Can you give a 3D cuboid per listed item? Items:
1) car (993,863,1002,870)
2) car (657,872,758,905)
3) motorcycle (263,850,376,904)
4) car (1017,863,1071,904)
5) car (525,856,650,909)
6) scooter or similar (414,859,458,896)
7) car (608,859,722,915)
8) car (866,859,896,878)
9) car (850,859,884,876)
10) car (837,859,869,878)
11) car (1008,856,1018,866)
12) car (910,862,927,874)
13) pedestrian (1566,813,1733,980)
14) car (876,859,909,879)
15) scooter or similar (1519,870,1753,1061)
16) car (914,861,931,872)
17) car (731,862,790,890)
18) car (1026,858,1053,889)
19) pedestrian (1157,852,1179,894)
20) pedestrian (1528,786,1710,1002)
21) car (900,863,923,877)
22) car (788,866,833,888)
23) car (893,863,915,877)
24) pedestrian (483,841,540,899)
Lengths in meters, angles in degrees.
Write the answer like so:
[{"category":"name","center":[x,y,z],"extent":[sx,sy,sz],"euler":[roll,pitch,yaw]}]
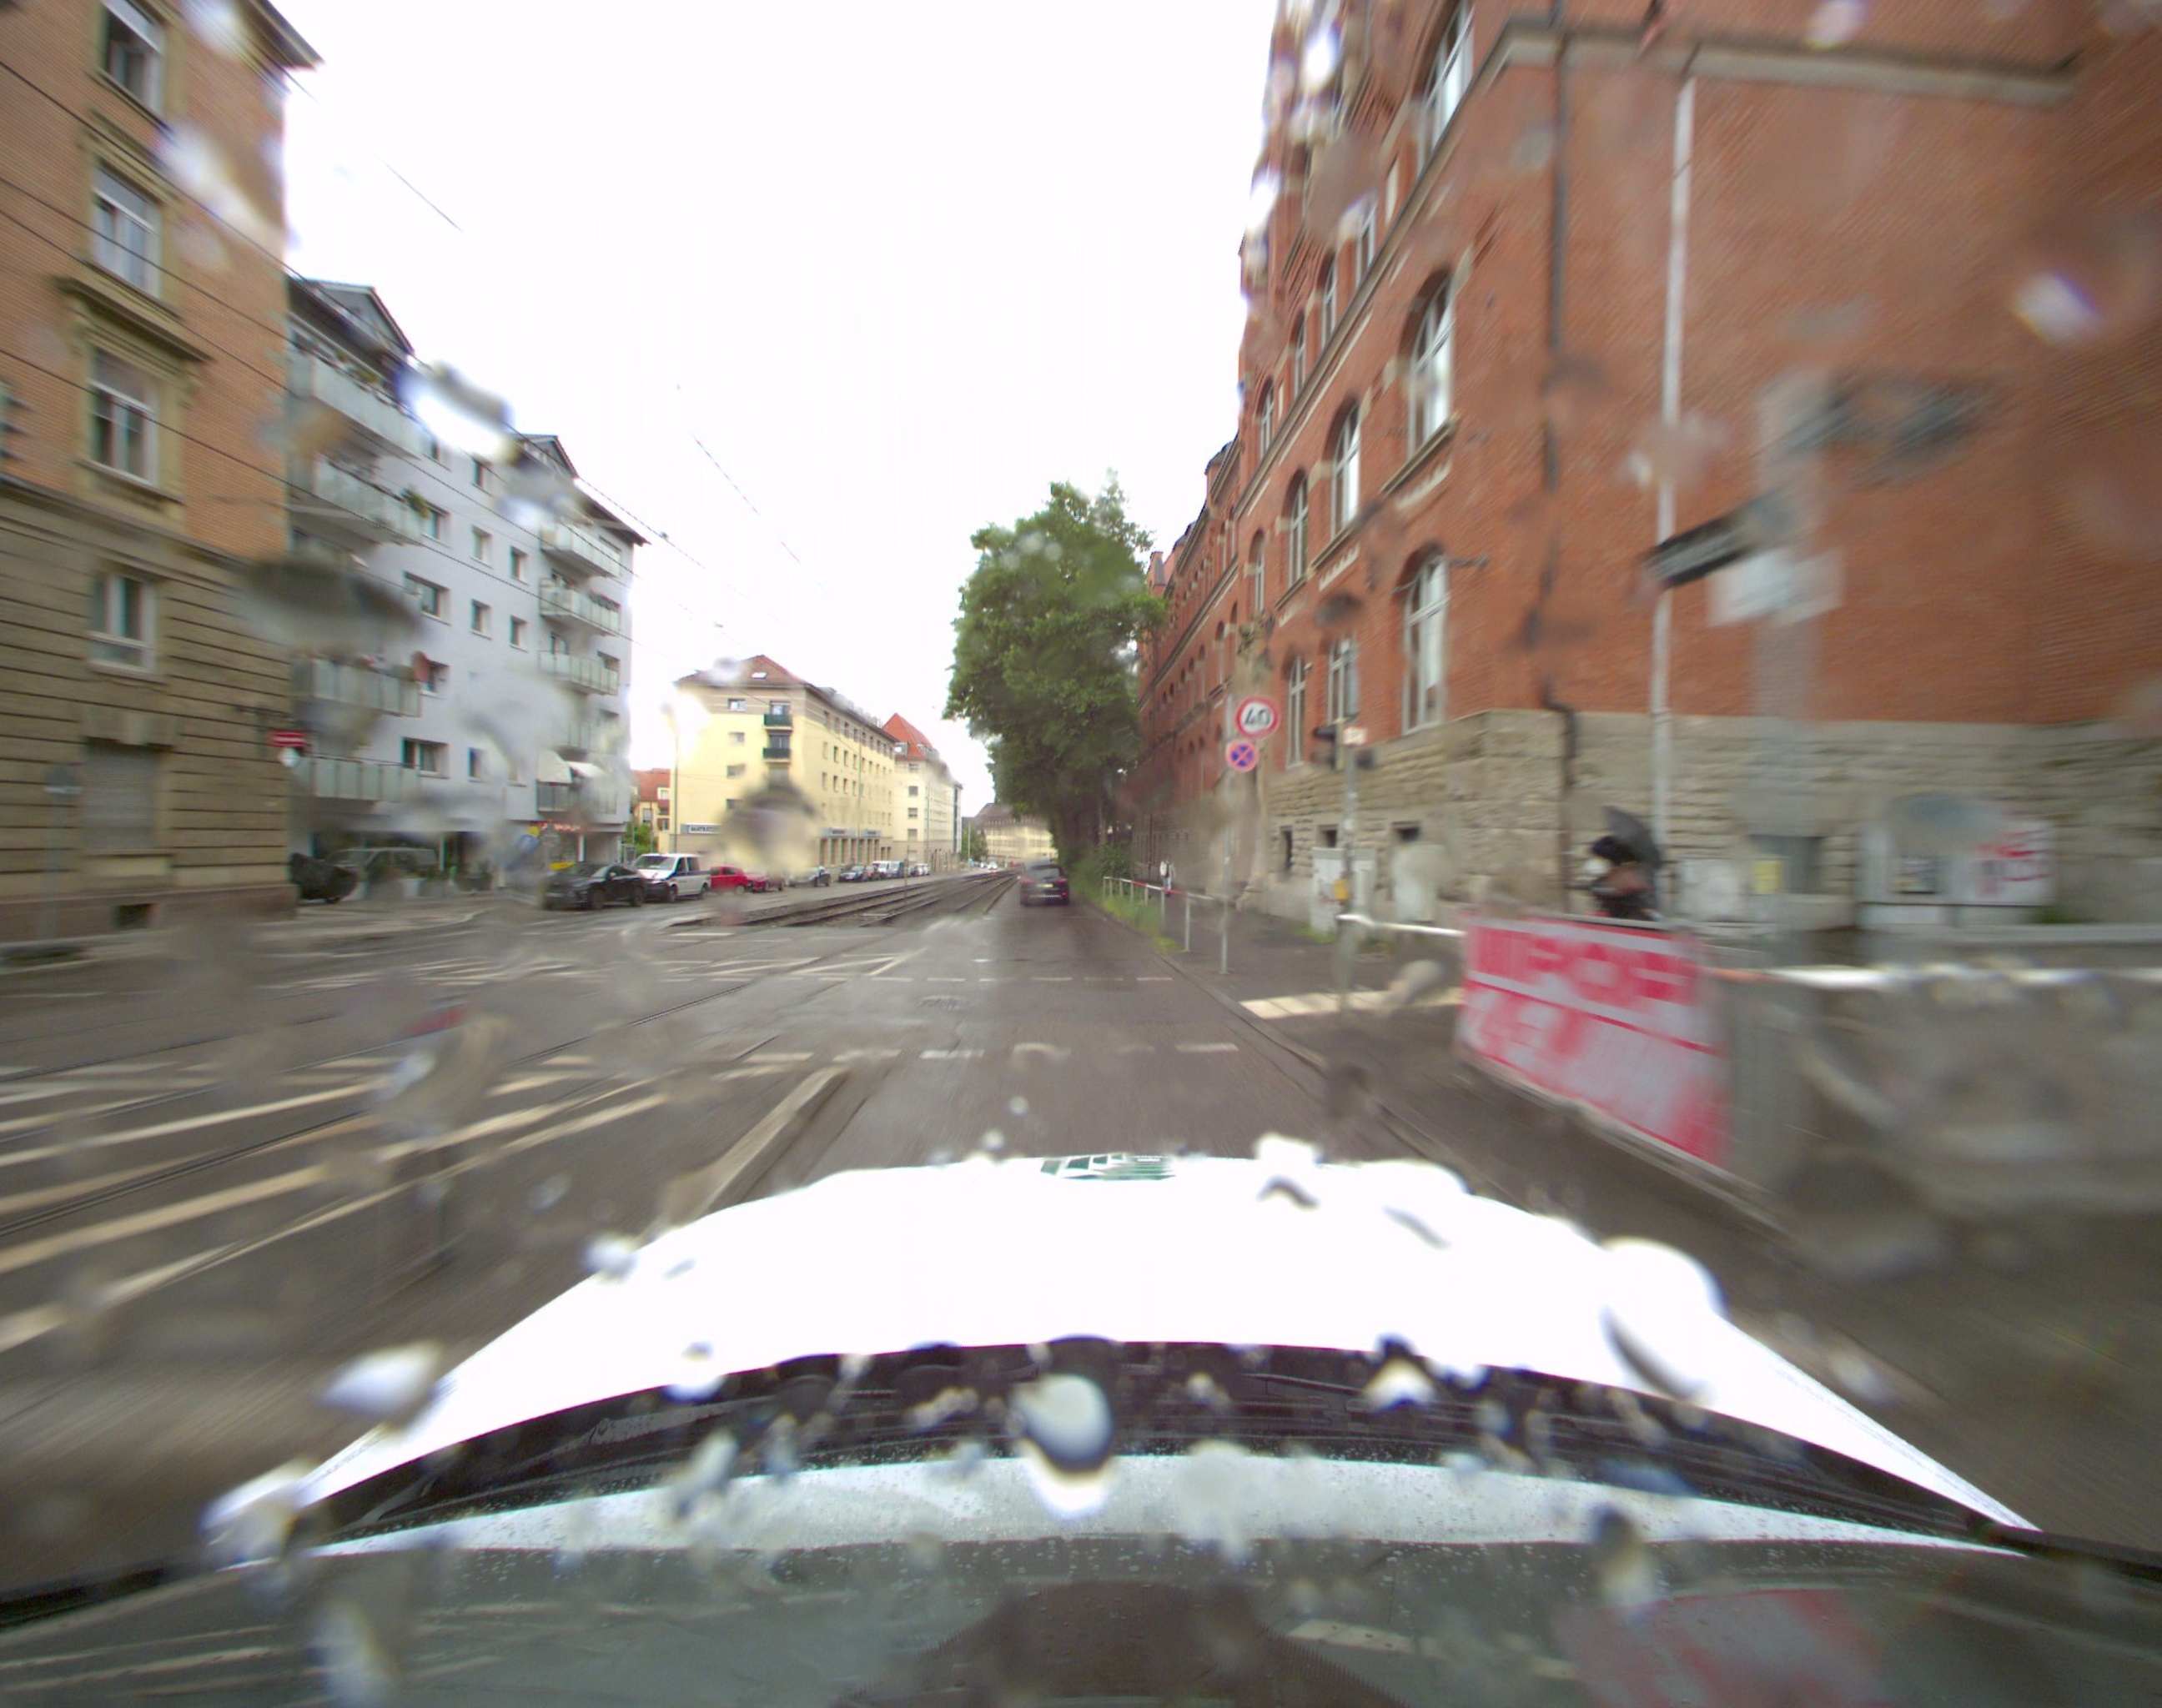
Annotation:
[{"category":"car","center":[-18.253,2.683,178.207],"extent":[1.707,1.462,4.277],"euler":[0,-1,-2]},{"category":"car","center":[-17.592,1.577,38.518],"extent":[1.763,1.434,4.007],"euler":[0,-1,31]},{"category":"motorcycle","center":[-21.437,0.640,23.006],"extent":[0.927,1.376,2.307],"euler":[5,-1,-2]},{"category":"car","center":[-1.399,1.094,31.431],"extent":[1.928,1.453,4.313],"euler":[1,-1,-2]},{"category":"car","center":[-16.632,0.928,27.746],"extent":[1.729,1.651,4.358],"euler":[1,-1,-3]},{"category":"scooter or similar","center":[-22.273,0.802,28.134],"extent":[1.090,1.209,0.315],"euler":[-3,-1,-14]},{"category":"car","center":[-17.075,1.276,33.799],"extent":[2.065,2.009,5.296],"euler":[3,-1,-3]},{"category":"car","center":[-19.242,1.382,78.522],"extent":[1.862,1.717,4.456],"euler":[0,-1,-2]},{"category":"car","center":[-19.015,1.192,72.636],"extent":[1.847,1.432,4.827],"euler":[2,-1,-2]},{"category":"car","center":[-18.639,1.211,66.846],"extent":[1.850,1.508,4.978],"euler":[0,-1,-8]},{"category":"car","center":[-16.744,1.706,200.985],"extent":[1.988,2.452,5.993],"euler":[0,-2,-2]},{"category":"car","center":[-20.380,1.761,102.352],"extent":[1.702,1.396,3.927],"euler":[1,0,-6]},{"category":"pedestrian","center":[5.936,0.417,8.580],"extent":[0.956,1.625,1.072],"euler":[-1,-1,-3]},{"category":"car","center":[-19.426,1.527,84.225],"extent":[1.986,1.905,5.460],"euler":[2,-1,1]},{"category":"scooter or similar","center":[3.928,0.753,5.873],"extent":[1.236,1.250,0.641],"euler":[-1,-1,19]},{"category":"car","center":[-20.781,1.627,106.766],"extent":[1.705,1.450,3.535],"euler":[2,-1,-5]},{"category":"car","center":[-17.451,1.187,44.528],"extent":[1.648,1.451,4.071],"euler":[0,-1,-1]},{"category":"car","center":[-2.801,1.289,54.165],"extent":[1.737,2.014,3.897],"euler":[0,-1,-4]},{"category":"pedestrian","center":[3.512,0.775,32.990],"extent":[0.820,1.679,0.859],"euler":[0,-1,0]},{"category":"pedestrian","center":[5.047,0.352,7.729],"extent":[0.956,1.887,1.072],"euler":[-1,-1,-3]},{"category":"car","center":[-19.575,1.787,94.053],"extent":[1.809,1.499,4.577],"euler":[1,-1,-3]},{"category":"car","center":[-17.753,1.493,53.629],"extent":[1.676,1.396,4.615],"euler":[0,-1,-4]},{"category":"car","center":[-19.417,1.726,89.561],"extent":[1.687,1.439,4.044],"euler":[-1,-1,-3]},{"category":"pedestrian","center":[-19.377,0.538,27.754],"extent":[1.172,1.929,1.173],"euler":[1,-1,-10]}]
